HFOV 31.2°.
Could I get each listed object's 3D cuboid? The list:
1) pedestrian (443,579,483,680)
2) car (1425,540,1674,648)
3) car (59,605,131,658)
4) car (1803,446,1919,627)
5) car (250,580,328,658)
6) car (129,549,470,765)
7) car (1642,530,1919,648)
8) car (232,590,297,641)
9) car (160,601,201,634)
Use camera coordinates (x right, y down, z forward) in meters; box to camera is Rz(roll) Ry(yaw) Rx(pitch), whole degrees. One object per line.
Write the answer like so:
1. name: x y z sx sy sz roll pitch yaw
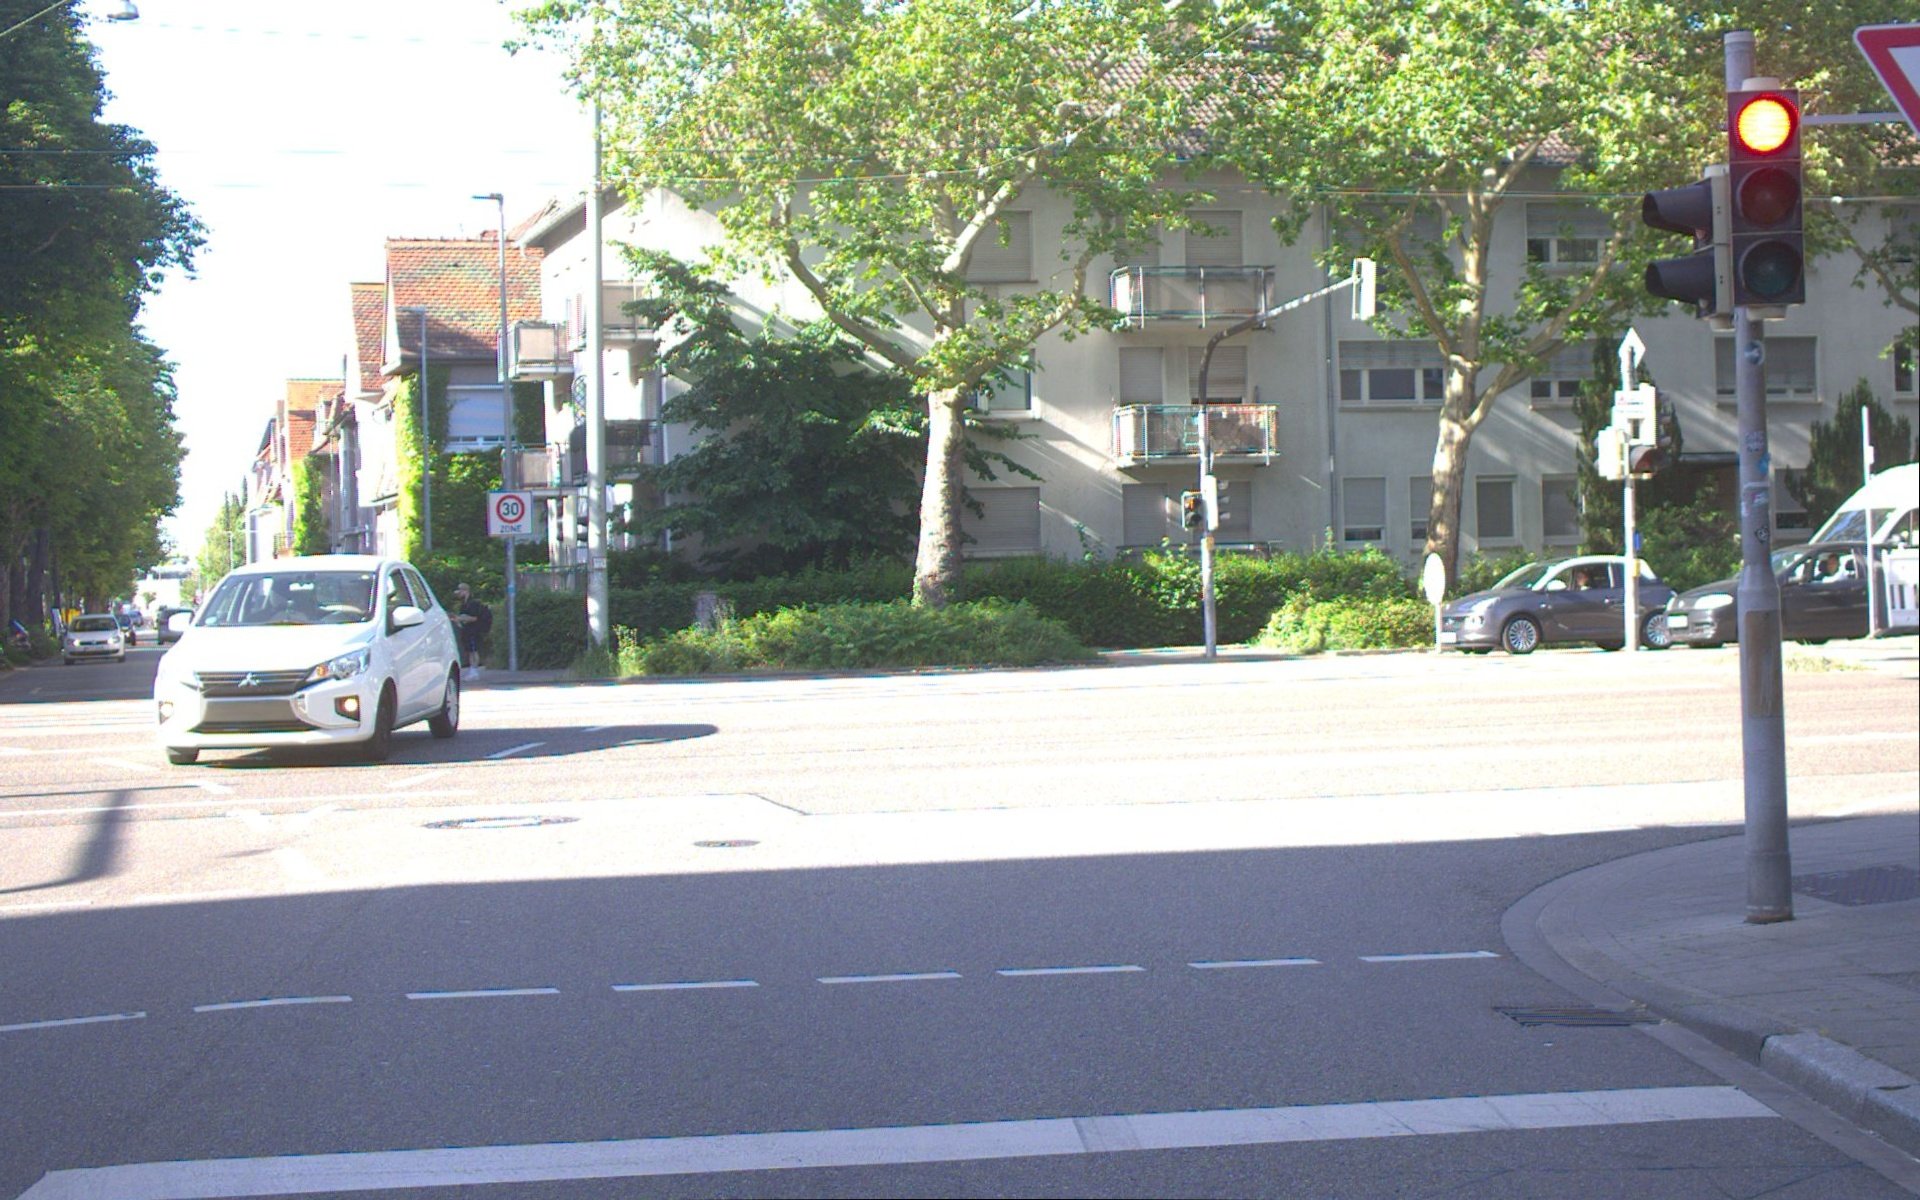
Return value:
1. pedestrian: -8.711 0.513 60.231 0.633 1.744 0.659 -1 0 -4
2. car: 8.895 -0.104 51.886 3.379 1.482 1.525 -2 1 -22
3. car: -25.933 0.913 103.031 1.993 1.441 4.001 -2 1 -15
4. car: 15.682 -1.012 50.806 6.039 2.559 2.001 -2 1 -18
5. car: -18.496 0.502 94.911 1.993 2.007 4.001 -2 1 -10
6. car: -4.965 0.377 26.322 1.624 1.467 3.799 -2 1 3
7. car: 11.378 -0.171 46.240 3.986 1.446 1.659 -2 1 -18
8. car: -25.376 0.566 125.407 1.993 1.826 4.001 -1 0 -16
9. car: -35.254 0.787 155.506 1.673 1.477 3.523 -1 0 -11
